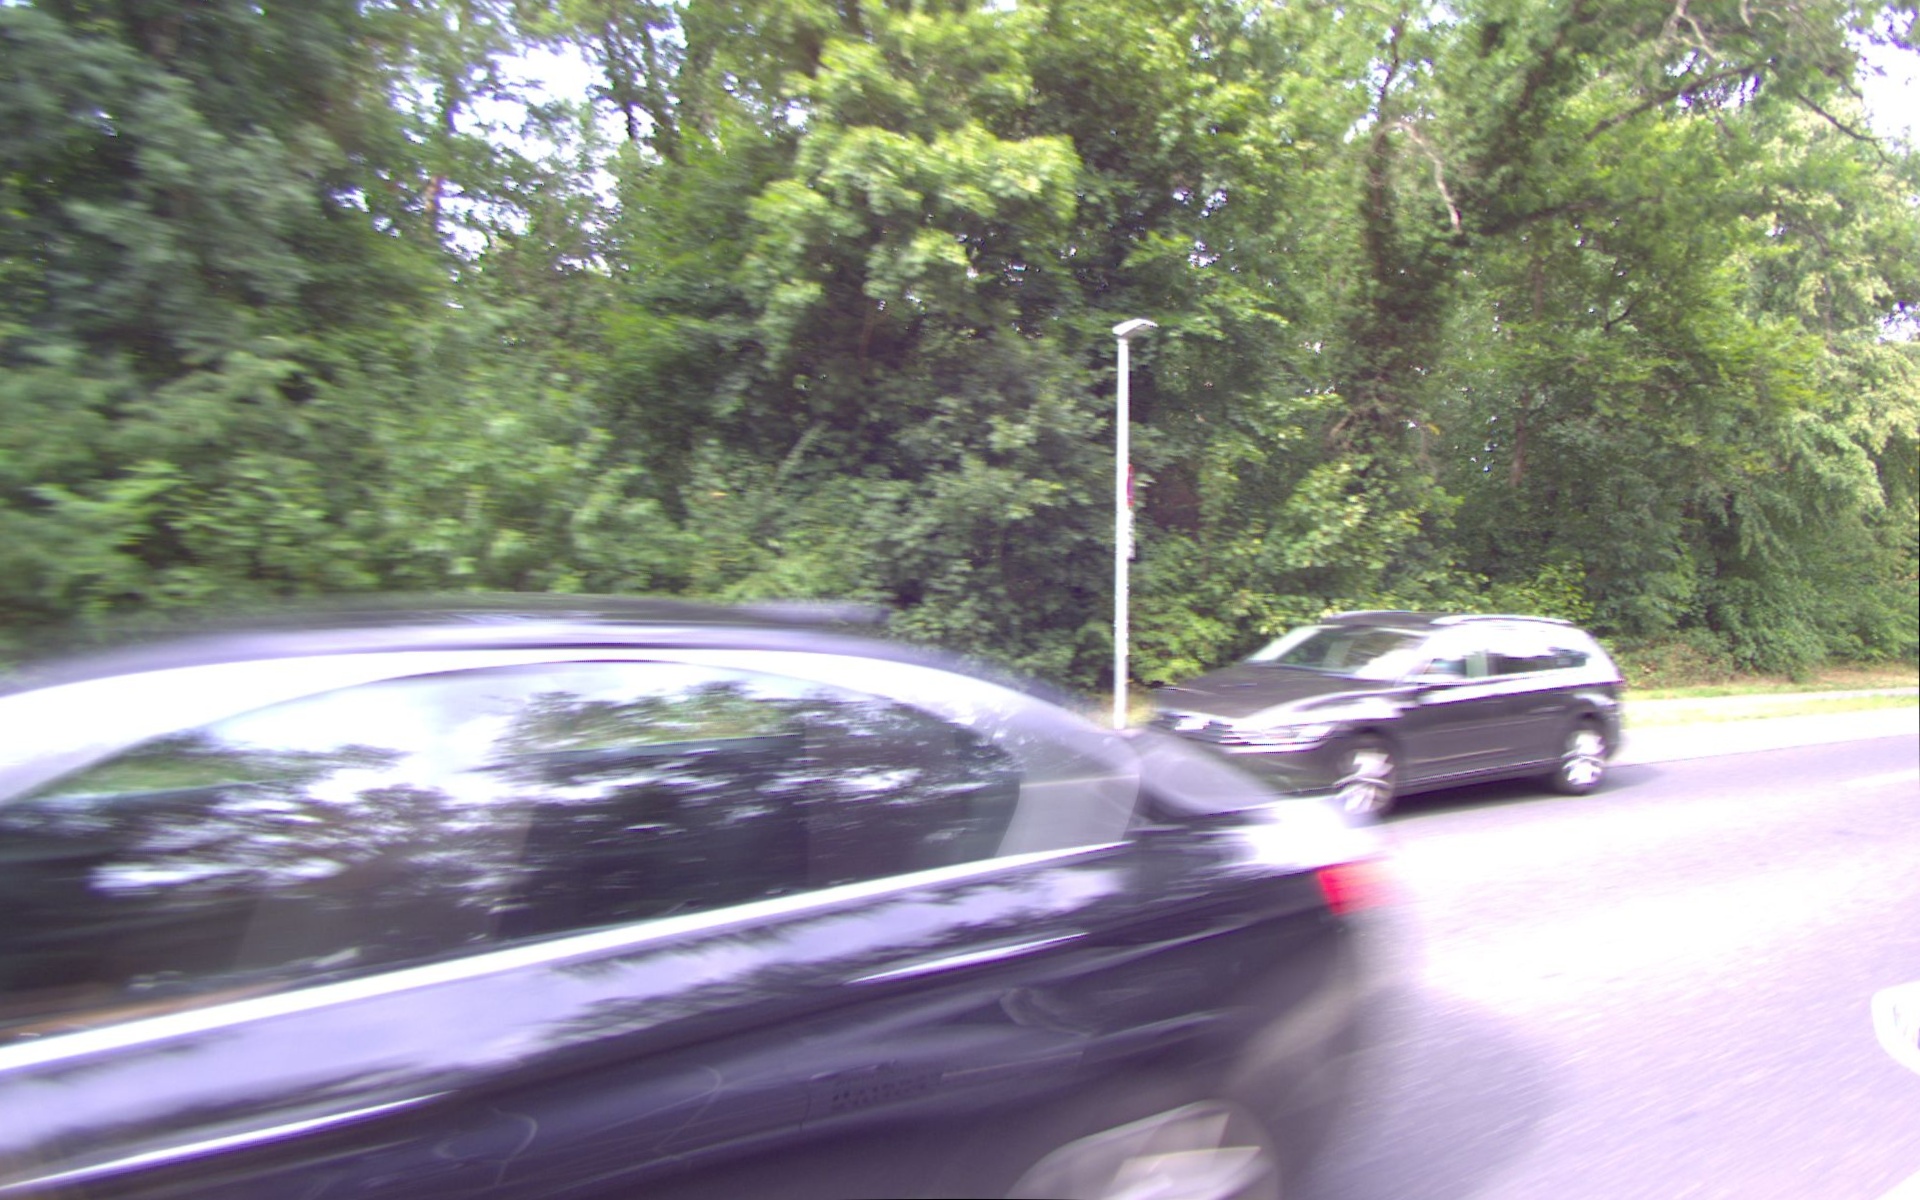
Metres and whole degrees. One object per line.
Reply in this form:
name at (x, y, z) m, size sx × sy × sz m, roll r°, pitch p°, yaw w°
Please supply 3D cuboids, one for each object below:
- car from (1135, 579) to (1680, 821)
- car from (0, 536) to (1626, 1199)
car at (3.847, 0.723, 8.475) m, size 4.464 × 1.578 × 1.877 m, roll 2°, pitch 0°, yaw -29°
car at (-0.868, 0.681, 2.023) m, size 4.466 × 1.498 × 1.876 m, roll 2°, pitch 1°, yaw -30°
